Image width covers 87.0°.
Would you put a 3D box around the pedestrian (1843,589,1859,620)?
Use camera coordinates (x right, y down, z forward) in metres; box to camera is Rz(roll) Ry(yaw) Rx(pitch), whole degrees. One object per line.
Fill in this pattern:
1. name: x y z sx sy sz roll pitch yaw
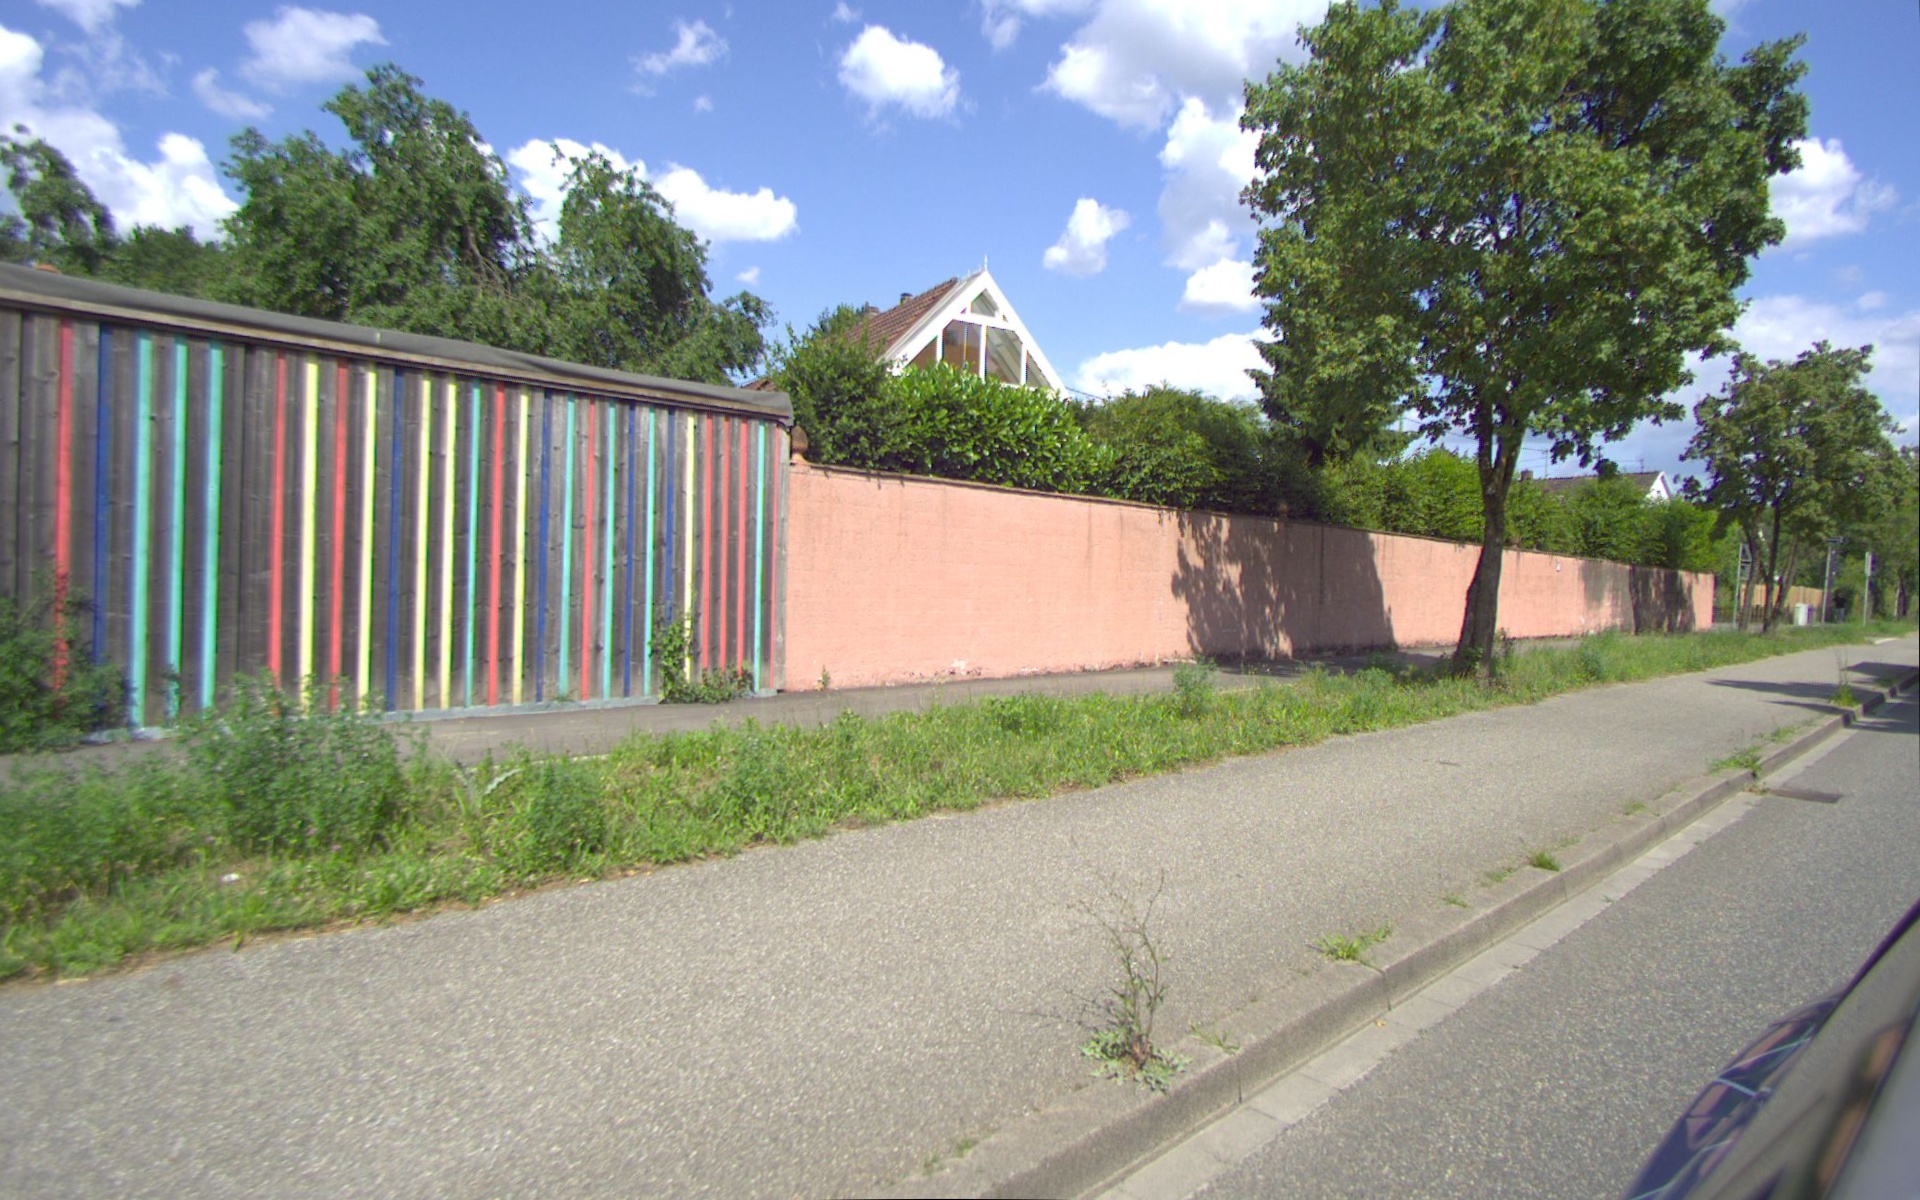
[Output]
1. pedestrian: 49.607 0.252 56.345 0.623 1.698 0.561 1 1 -42
